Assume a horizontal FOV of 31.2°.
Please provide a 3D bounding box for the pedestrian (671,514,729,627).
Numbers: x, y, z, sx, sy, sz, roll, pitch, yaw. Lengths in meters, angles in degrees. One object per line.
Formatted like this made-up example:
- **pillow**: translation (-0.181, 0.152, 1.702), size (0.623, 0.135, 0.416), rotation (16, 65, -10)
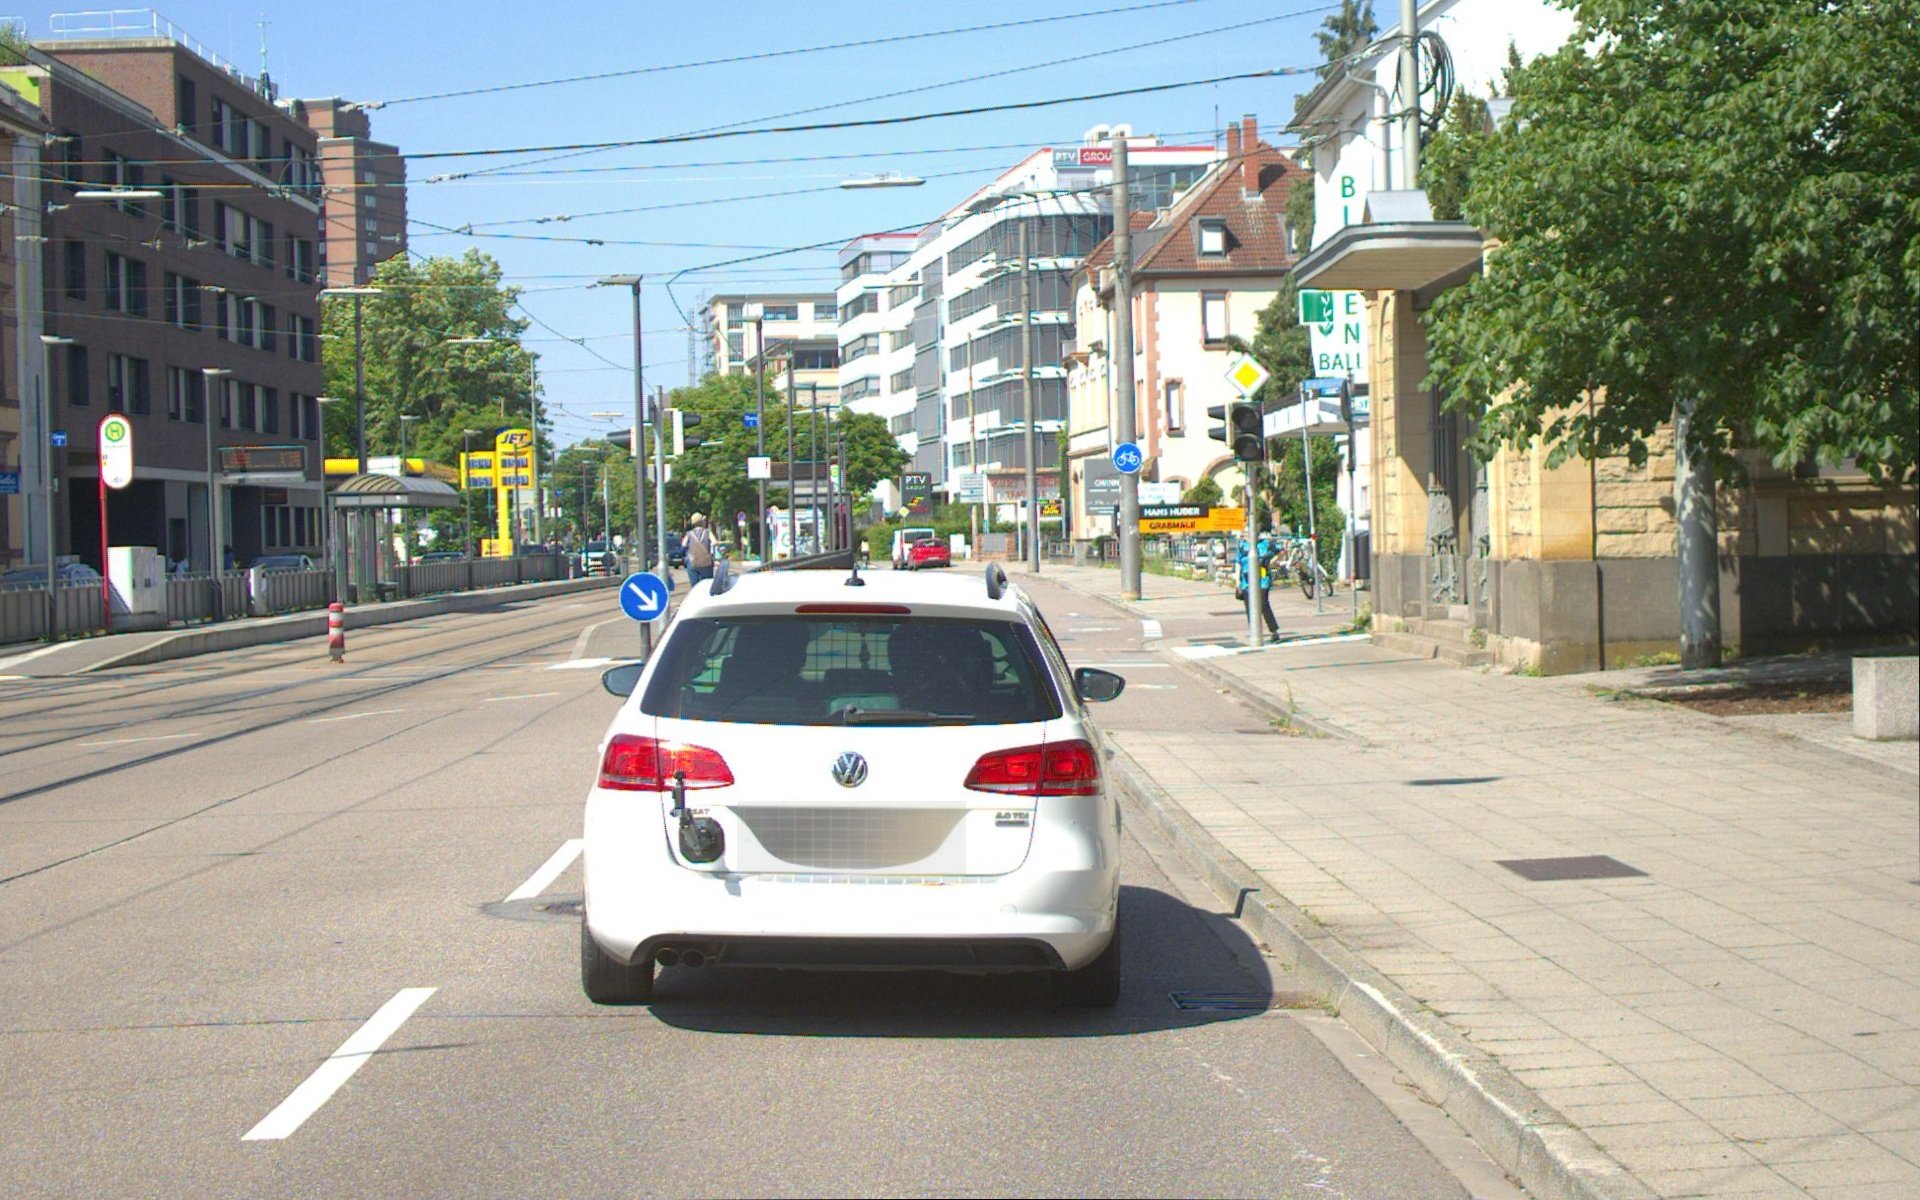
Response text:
- **pedestrian**: translation (-4.225, -0.486, 55.914), size (0.826, 1.803, 0.833), rotation (-2, 1, 1)

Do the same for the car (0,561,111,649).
- **car**: translation (-16.241, 0.070, 60.991), size (1.572, 1.454, 3.815), rotation (-2, 1, -4)

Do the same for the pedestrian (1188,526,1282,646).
- **pedestrian**: translation (3.511, -0.183, 43.899), size (0.856, 1.505, 0.781), rotation (-2, 1, -33)

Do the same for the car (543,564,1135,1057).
- **car**: translation (-0.361, 0.609, 12.203), size (1.753, 1.413, 3.853), rotation (1, 1, 0)

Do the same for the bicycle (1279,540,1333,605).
- **bicycle**: translation (6.362, -0.521, 63.129), size (0.726, 1.135, 2.193), rotation (-1, 1, 12)

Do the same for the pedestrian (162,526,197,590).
- **pedestrian**: translation (-22.263, -1.203, 98.103), size (0.725, 1.784, 0.964), rotation (-2, 1, 0)

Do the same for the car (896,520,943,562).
- **car**: translation (-2.036, -2.954, 170.510), size (1.993, 2.007, 4.001), rotation (-2, 1, -5)

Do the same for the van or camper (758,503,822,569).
- **van or camper**: translation (-8.551, -3.241, 173.788), size (2.943, 3.169, 6.614), rotation (-2, 1, -1)

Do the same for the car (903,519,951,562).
- **car**: translation (-1.587, -2.865, 165.067), size (1.993, 2.007, 4.001), rotation (-2, 1, -5)

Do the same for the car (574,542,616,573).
- **car**: translation (-18.124, -2.107, 170.721), size (1.667, 1.461, 3.773), rotation (-2, 1, 0)
